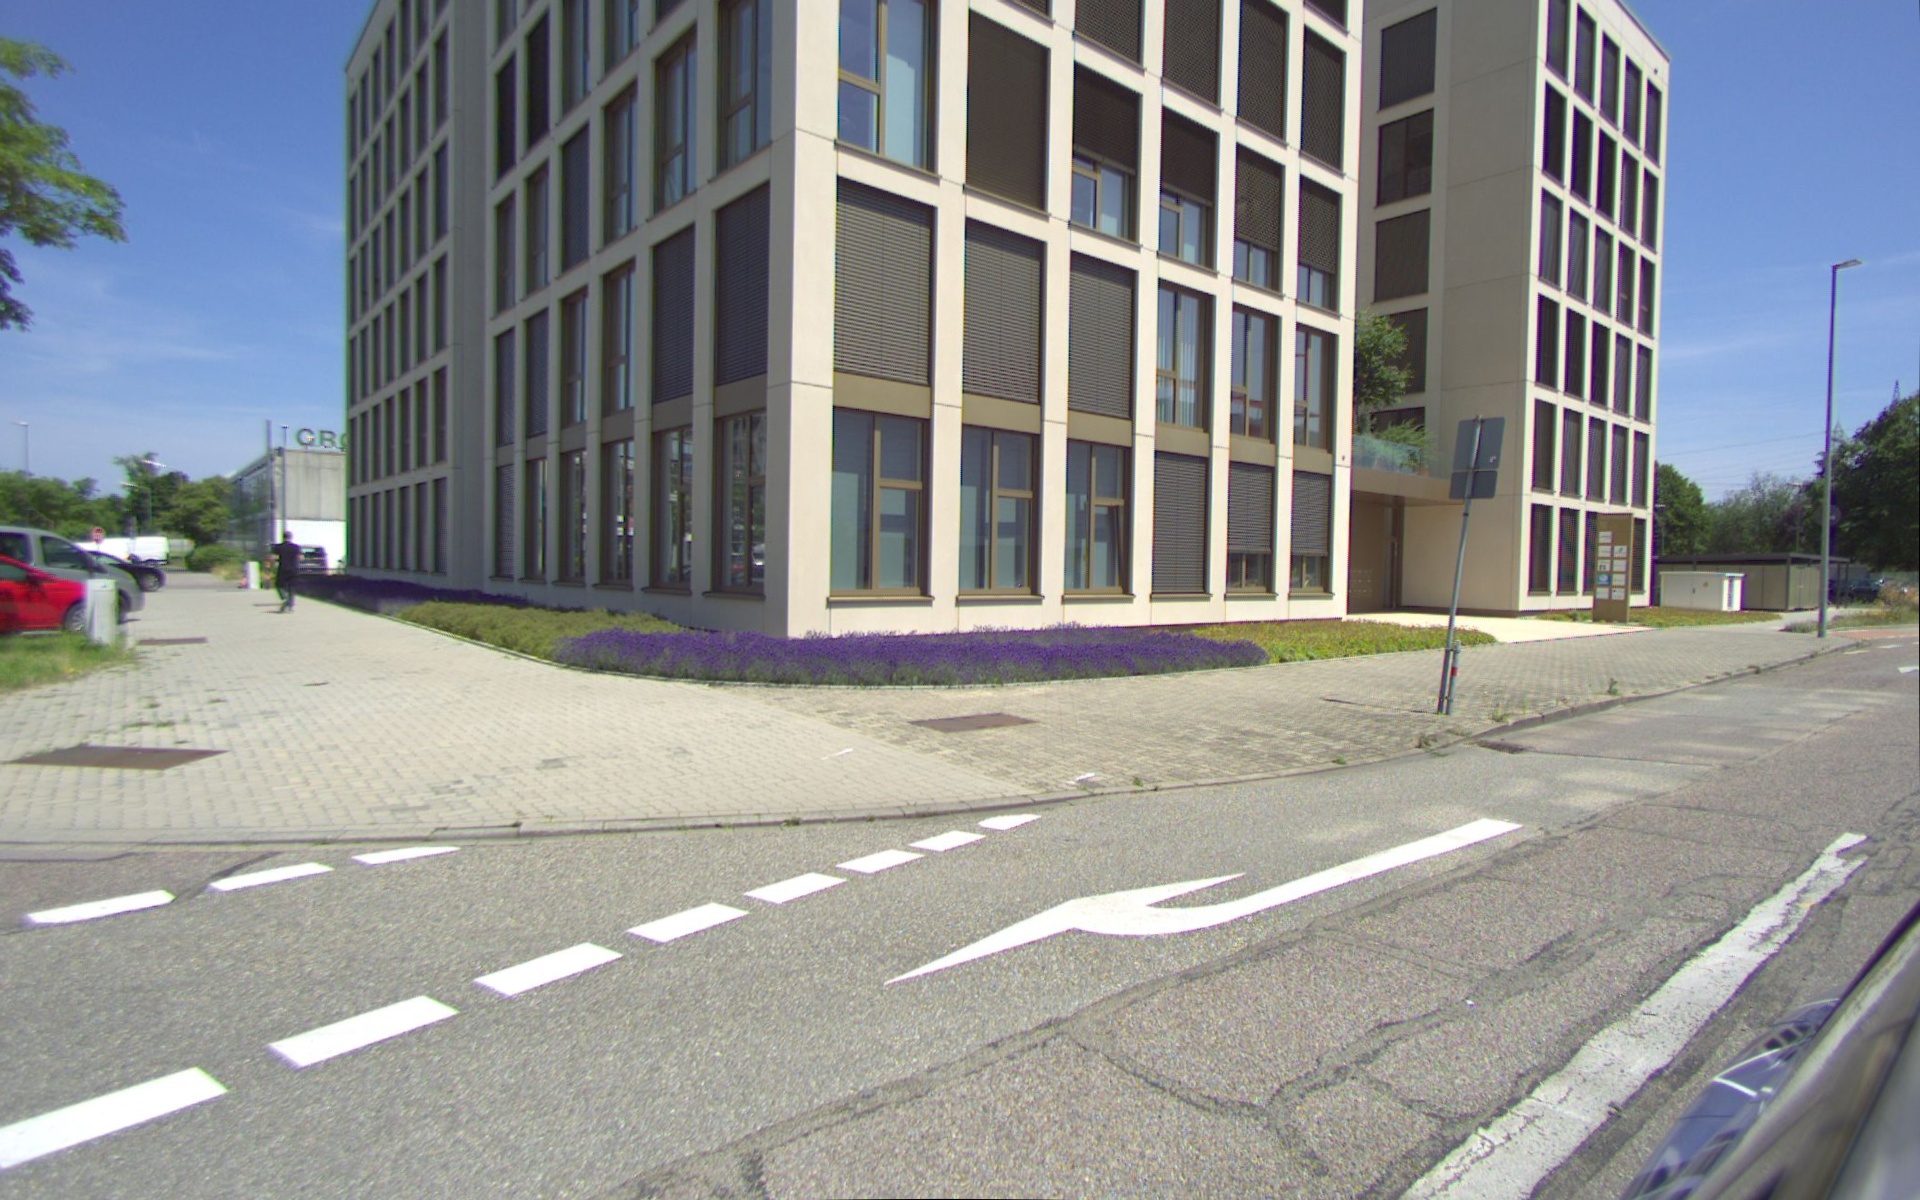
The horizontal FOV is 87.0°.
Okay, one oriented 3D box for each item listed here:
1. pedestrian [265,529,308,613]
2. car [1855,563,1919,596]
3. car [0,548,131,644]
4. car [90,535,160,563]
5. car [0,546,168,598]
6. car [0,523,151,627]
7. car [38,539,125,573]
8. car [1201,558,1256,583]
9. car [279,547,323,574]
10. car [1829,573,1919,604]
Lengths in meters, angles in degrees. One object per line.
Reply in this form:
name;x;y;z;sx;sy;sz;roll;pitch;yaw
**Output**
pedestrian;-15.435;-0.671;23.200;0.758;1.867;0.869;-1;3;-32
car;59.213;-1.304;63.561;3.958;1.977;1.984;2;2;25
car;-15.358;-0.083;15.579;1.584;1.452;3.991;1;2;9
car;-67.523;-4.092;81.919;4.280;2.146;2.094;0;2;-37
car;-29.093;-0.976;33.542;1.792;1.557;4.131;0;3;19
car;-17.709;-0.473;18.427;1.676;1.838;4.899;1;2;7
car;-54.933;-2.722;63.362;3.925;2.038;2.000;0;2;-36
car;21.196;-2.352;79.899;3.921;1.874;2.002;0;2;-31
car;-37.979;-2.285;58.274;1.758;1.540;3.574;-1;3;-39
car;55.642;-0.721;61.433;3.960;1.682;1.822;2;3;26
